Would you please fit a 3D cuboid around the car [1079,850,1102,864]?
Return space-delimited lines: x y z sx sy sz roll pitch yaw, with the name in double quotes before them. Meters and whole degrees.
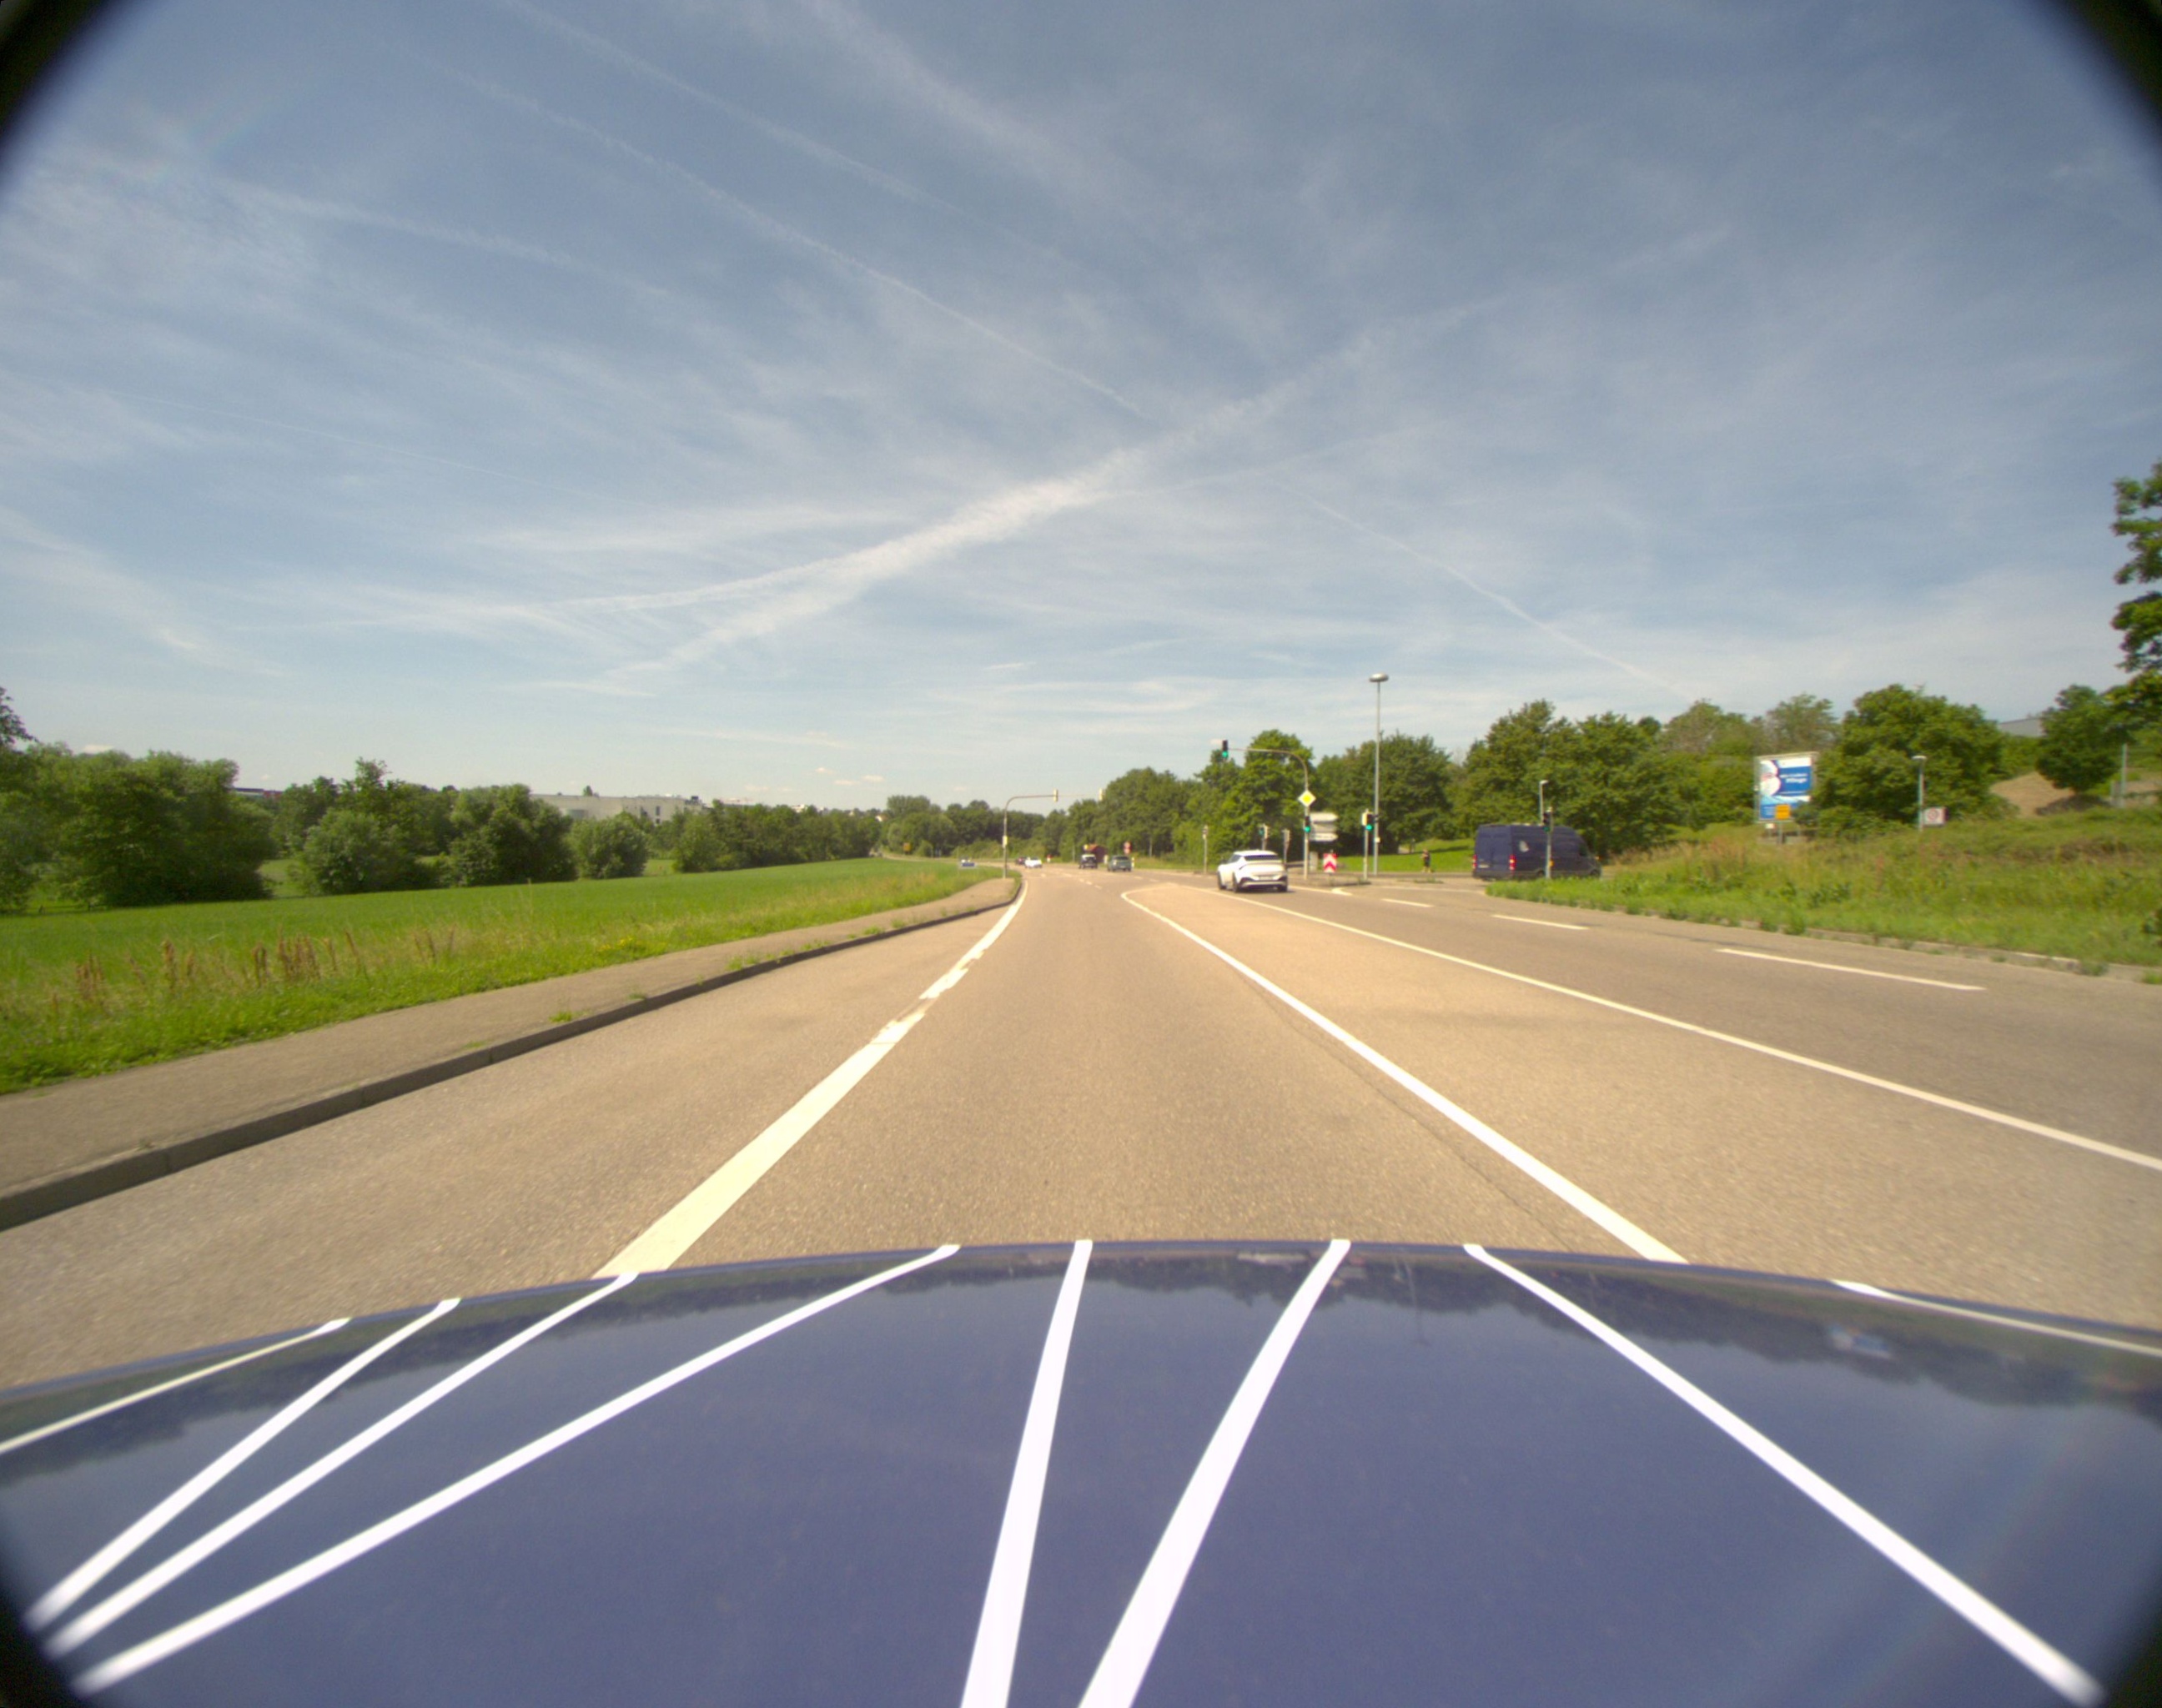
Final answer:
"car" 1.045 0.361 87.294 1.980 1.553 4.186 -2 0 -8

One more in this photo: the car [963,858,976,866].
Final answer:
"car" -24.078 1.698 163.498 2.001 1.576 3.994 -2 0 -18

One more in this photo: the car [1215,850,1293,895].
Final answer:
"car" 6.497 0.637 29.007 1.942 1.539 4.627 -2 0 1

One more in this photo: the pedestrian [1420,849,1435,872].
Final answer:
"pedestrian" 26.156 0.501 57.309 0.920 1.726 0.901 -1 1 31

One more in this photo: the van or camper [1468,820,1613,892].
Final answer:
"van or camper" 21.102 0.179 34.781 7.259 2.896 2.242 2 -1 -28

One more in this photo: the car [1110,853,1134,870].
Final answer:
"car" 3.748 0.667 69.494 1.711 1.474 3.831 -2 0 -3

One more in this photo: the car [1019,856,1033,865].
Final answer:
"car" -9.666 1.125 132.949 1.797 1.465 4.305 -2 1 -13

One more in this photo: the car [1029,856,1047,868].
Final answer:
"car" -5.961 1.085 104.801 2.000 1.576 3.996 -2 1 -10
